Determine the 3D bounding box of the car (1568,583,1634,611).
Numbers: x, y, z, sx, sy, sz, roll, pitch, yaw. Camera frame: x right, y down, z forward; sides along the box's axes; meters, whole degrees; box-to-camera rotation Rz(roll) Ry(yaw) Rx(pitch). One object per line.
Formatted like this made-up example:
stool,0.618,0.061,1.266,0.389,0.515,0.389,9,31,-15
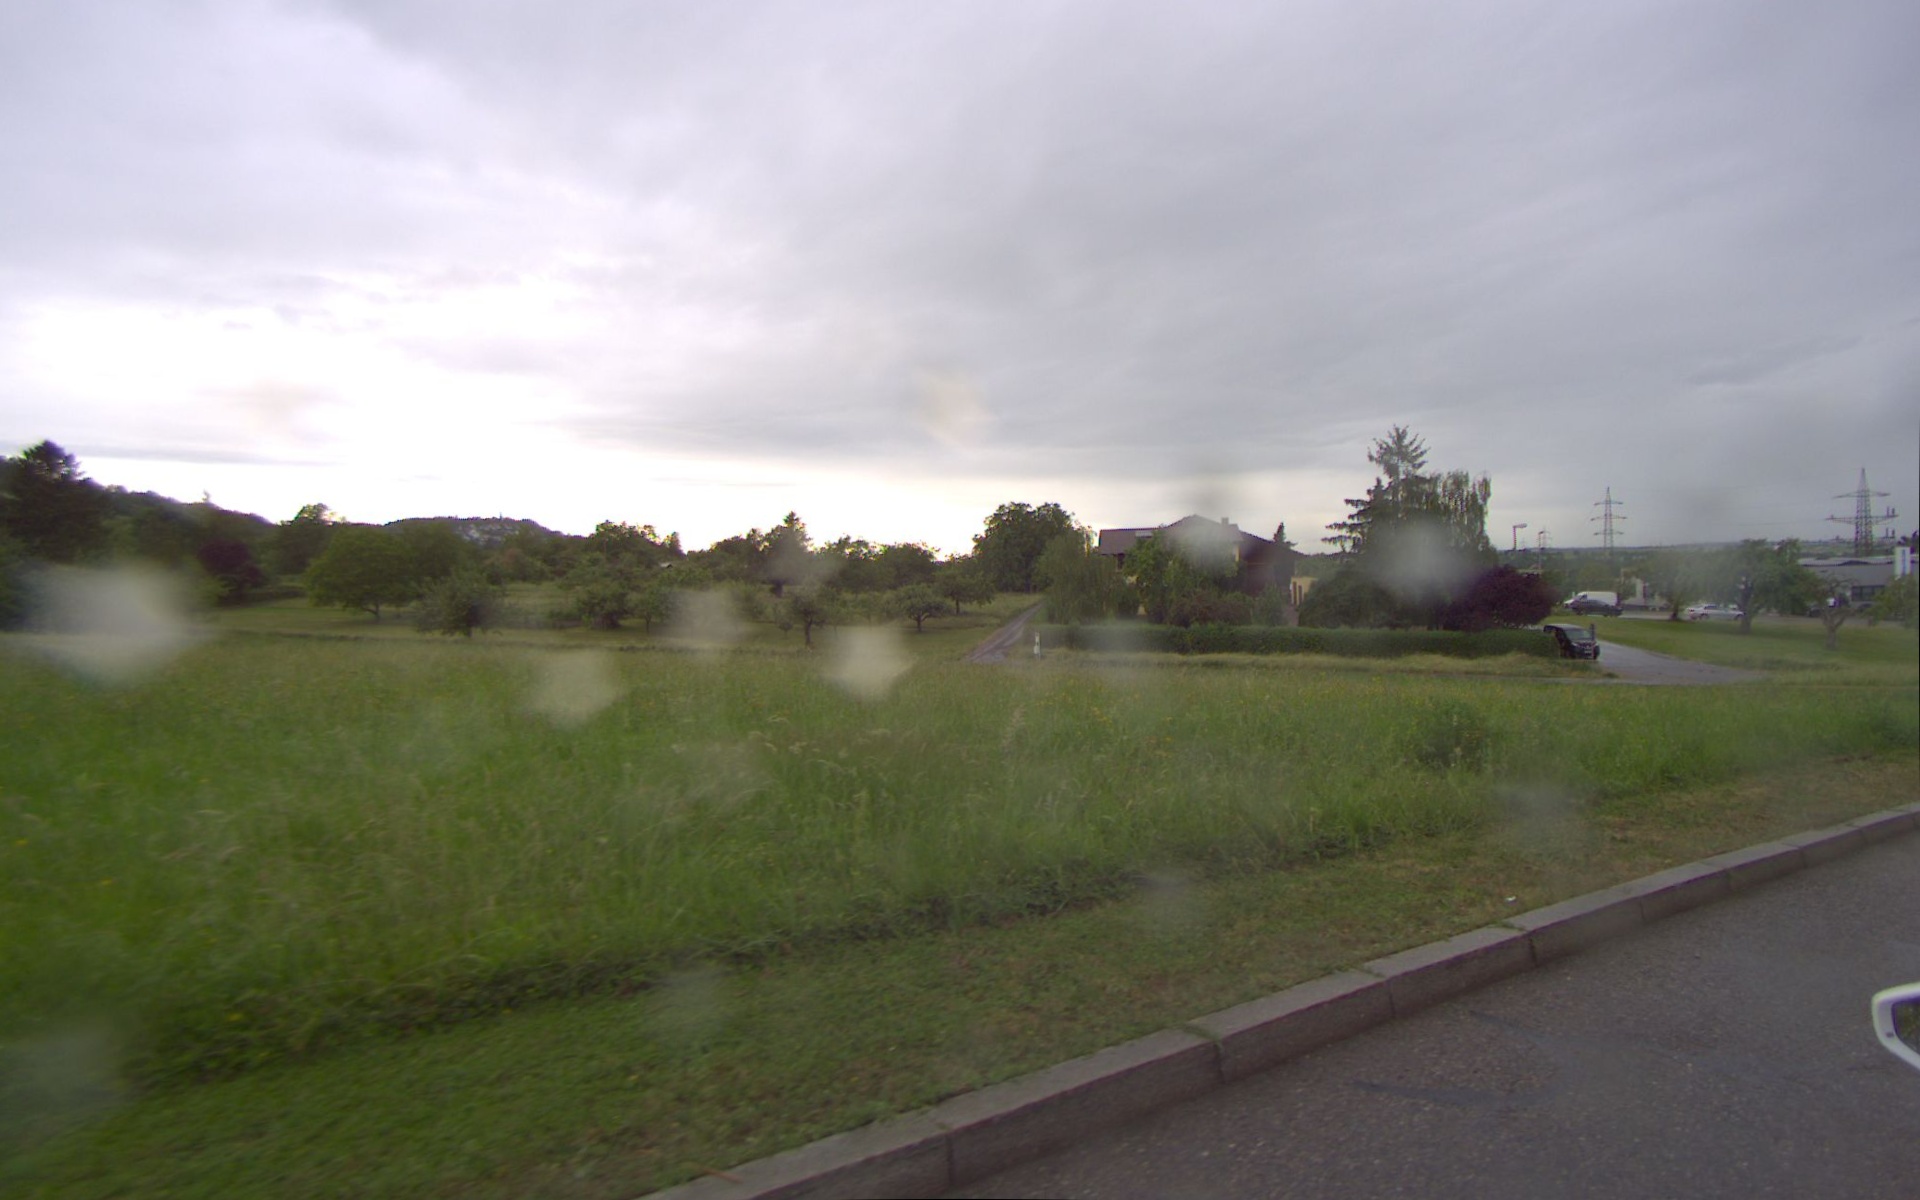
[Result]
car,81.547,-0.315,127.941,6.593,3.470,2.546,0,-1,11

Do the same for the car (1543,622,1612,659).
car,38.553,2.508,62.851,1.891,2.249,4.506,0,-1,6

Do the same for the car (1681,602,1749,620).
car,70.623,1.056,94.057,4.525,1.670,2.293,0,-1,11

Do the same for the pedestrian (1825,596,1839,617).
pedestrian,88.417,0.656,101.802,0.834,2.041,0.647,1,1,15

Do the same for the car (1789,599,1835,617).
car,85.569,0.785,100.968,1.775,1.639,4.002,1,1,12
